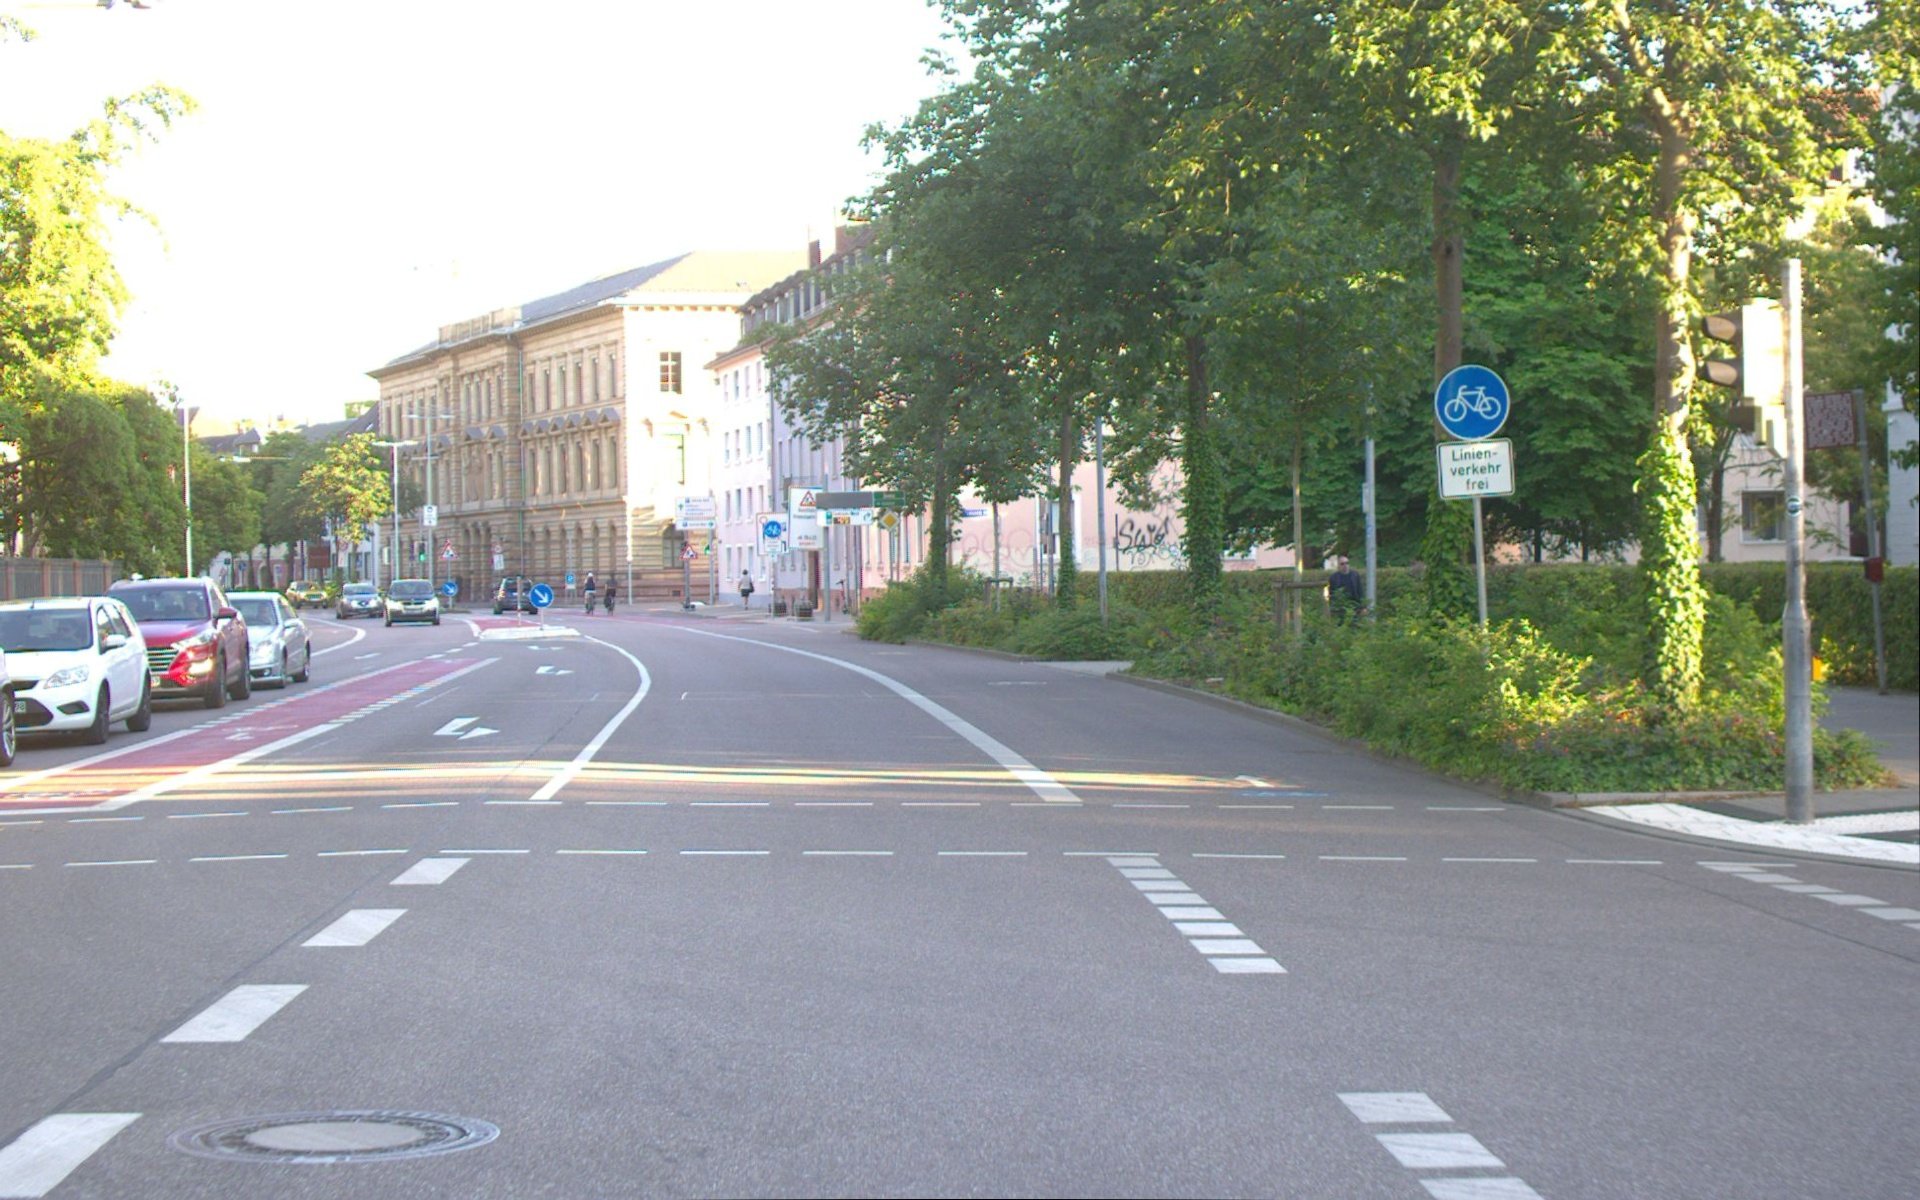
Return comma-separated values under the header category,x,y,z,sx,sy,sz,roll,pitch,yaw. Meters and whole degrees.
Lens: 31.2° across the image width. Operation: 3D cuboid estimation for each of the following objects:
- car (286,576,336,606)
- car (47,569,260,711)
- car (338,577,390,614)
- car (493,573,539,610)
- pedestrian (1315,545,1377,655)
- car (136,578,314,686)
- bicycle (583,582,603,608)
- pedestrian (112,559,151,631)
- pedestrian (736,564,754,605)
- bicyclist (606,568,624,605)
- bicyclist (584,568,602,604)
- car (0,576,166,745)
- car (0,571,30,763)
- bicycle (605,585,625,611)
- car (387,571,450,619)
category,x,y,z,sx,sy,sz,roll,pitch,yaw
car,-35.864,-0.502,189.922,1.993,1.579,4.001,-1,0,-21
car,-10.263,0.466,44.062,1.916,1.619,4.640,-3,1,-5
car,-24.876,-0.212,143.436,1.835,1.434,4.001,-3,1,-14
car,-18.597,-0.363,144.101,1.867,1.505,4.001,0,0,-7
pedestrian,6.181,-0.003,55.142,0.769,1.733,0.807,-1,1,-10
car,-10.819,0.433,50.886,1.916,1.413,4.771,-3,1,-5
bicycle,-14.806,-0.199,138.658,0.652,1.012,2.198,1,0,-9
pedestrian,-18.737,-0.109,77.765,0.681,1.617,0.688,-1,0,-1
pedestrian,-9.288,-0.685,148.734,0.762,1.749,0.845,0,0,-3
bicyclist,-13.929,-0.565,138.773,0.652,1.470,0.941,1,0,-9
bicyclist,-14.788,-0.569,138.625,0.652,1.441,0.879,1,0,-9
car,-9.569,0.592,35.541,1.916,1.578,4.675,-3,1,-5
car,-9.407,0.647,29.465,1.916,1.690,4.427,-3,1,-5
bicycle,-13.944,-0.082,138.774,0.652,1.012,2.198,1,0,-9
car,-18.425,-0.181,116.863,1.848,1.521,4.001,-2,1,-12
